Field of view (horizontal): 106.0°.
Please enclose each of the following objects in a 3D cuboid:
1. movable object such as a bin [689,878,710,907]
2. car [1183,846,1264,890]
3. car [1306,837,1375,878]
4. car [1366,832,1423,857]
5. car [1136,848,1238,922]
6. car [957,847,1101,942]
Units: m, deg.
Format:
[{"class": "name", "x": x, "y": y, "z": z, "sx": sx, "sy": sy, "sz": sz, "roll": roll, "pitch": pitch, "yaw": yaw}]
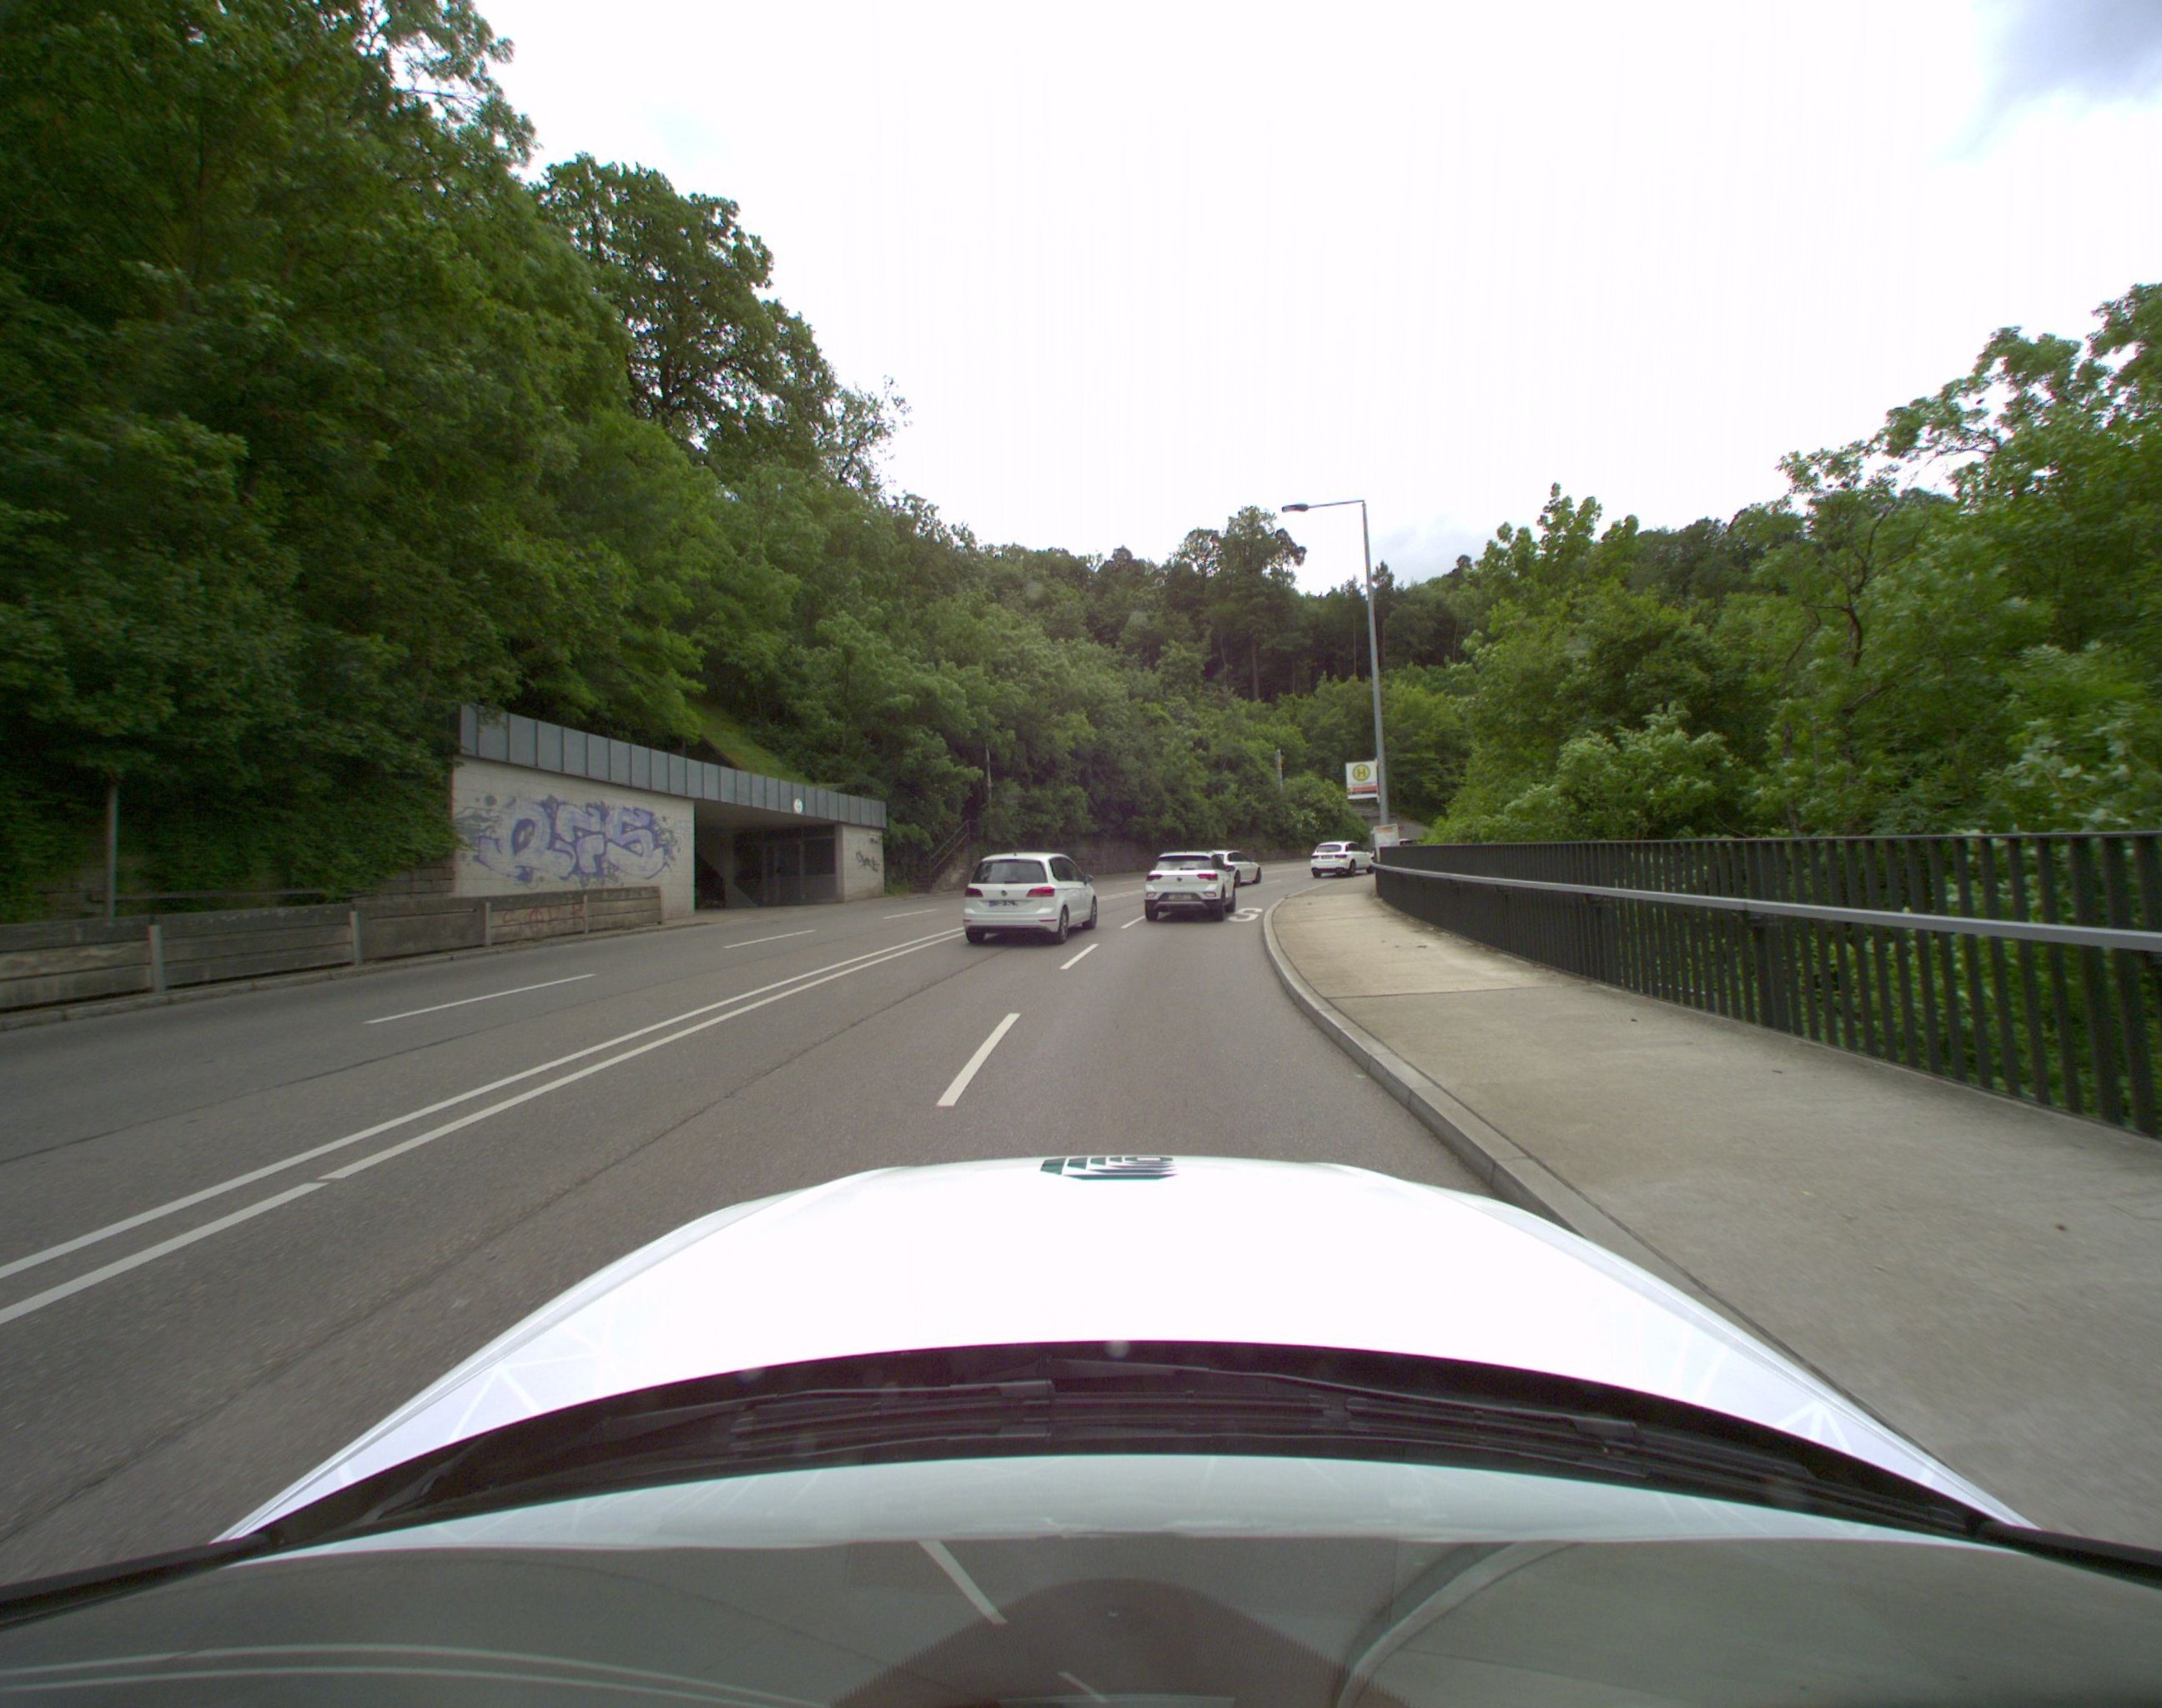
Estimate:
[{"class": "movable object such as a bin", "x": -13.285, "y": 1.332, "z": 28.364, "sx": 0.423, "sy": 0.997, "sz": 0.501, "roll": 0, "pitch": -1, "yaw": 25}, {"class": "car", "x": 5.920, "y": 0.501, "z": 33.349, "sx": 1.975, "sy": 1.557, "sz": 4.709, "roll": 1, "pitch": 2, "yaw": 26}, {"class": "car", "x": 12.305, "y": 0.157, "z": 38.488, "sx": 1.974, "sy": 1.843, "sz": 4.176, "roll": 0, "pitch": 0, "yaw": 34}, {"class": "car", "x": 20.012, "y": -0.592, "z": 51.920, "sx": 4.333, "sy": 1.519, "sz": 1.725, "roll": 1, "pitch": 0, "yaw": -44}, {"class": "car", "x": 2.654, "y": 0.668, "z": 19.580, "sx": 1.800, "sy": 1.539, "sz": 4.025, "roll": -3, "pitch": -1, "yaw": 16}, {"class": "car", "x": -0.818, "y": 0.664, "z": 15.502, "sx": 1.709, "sy": 1.554, "sz": 4.288, "roll": -1, "pitch": 0, "yaw": 10}]
